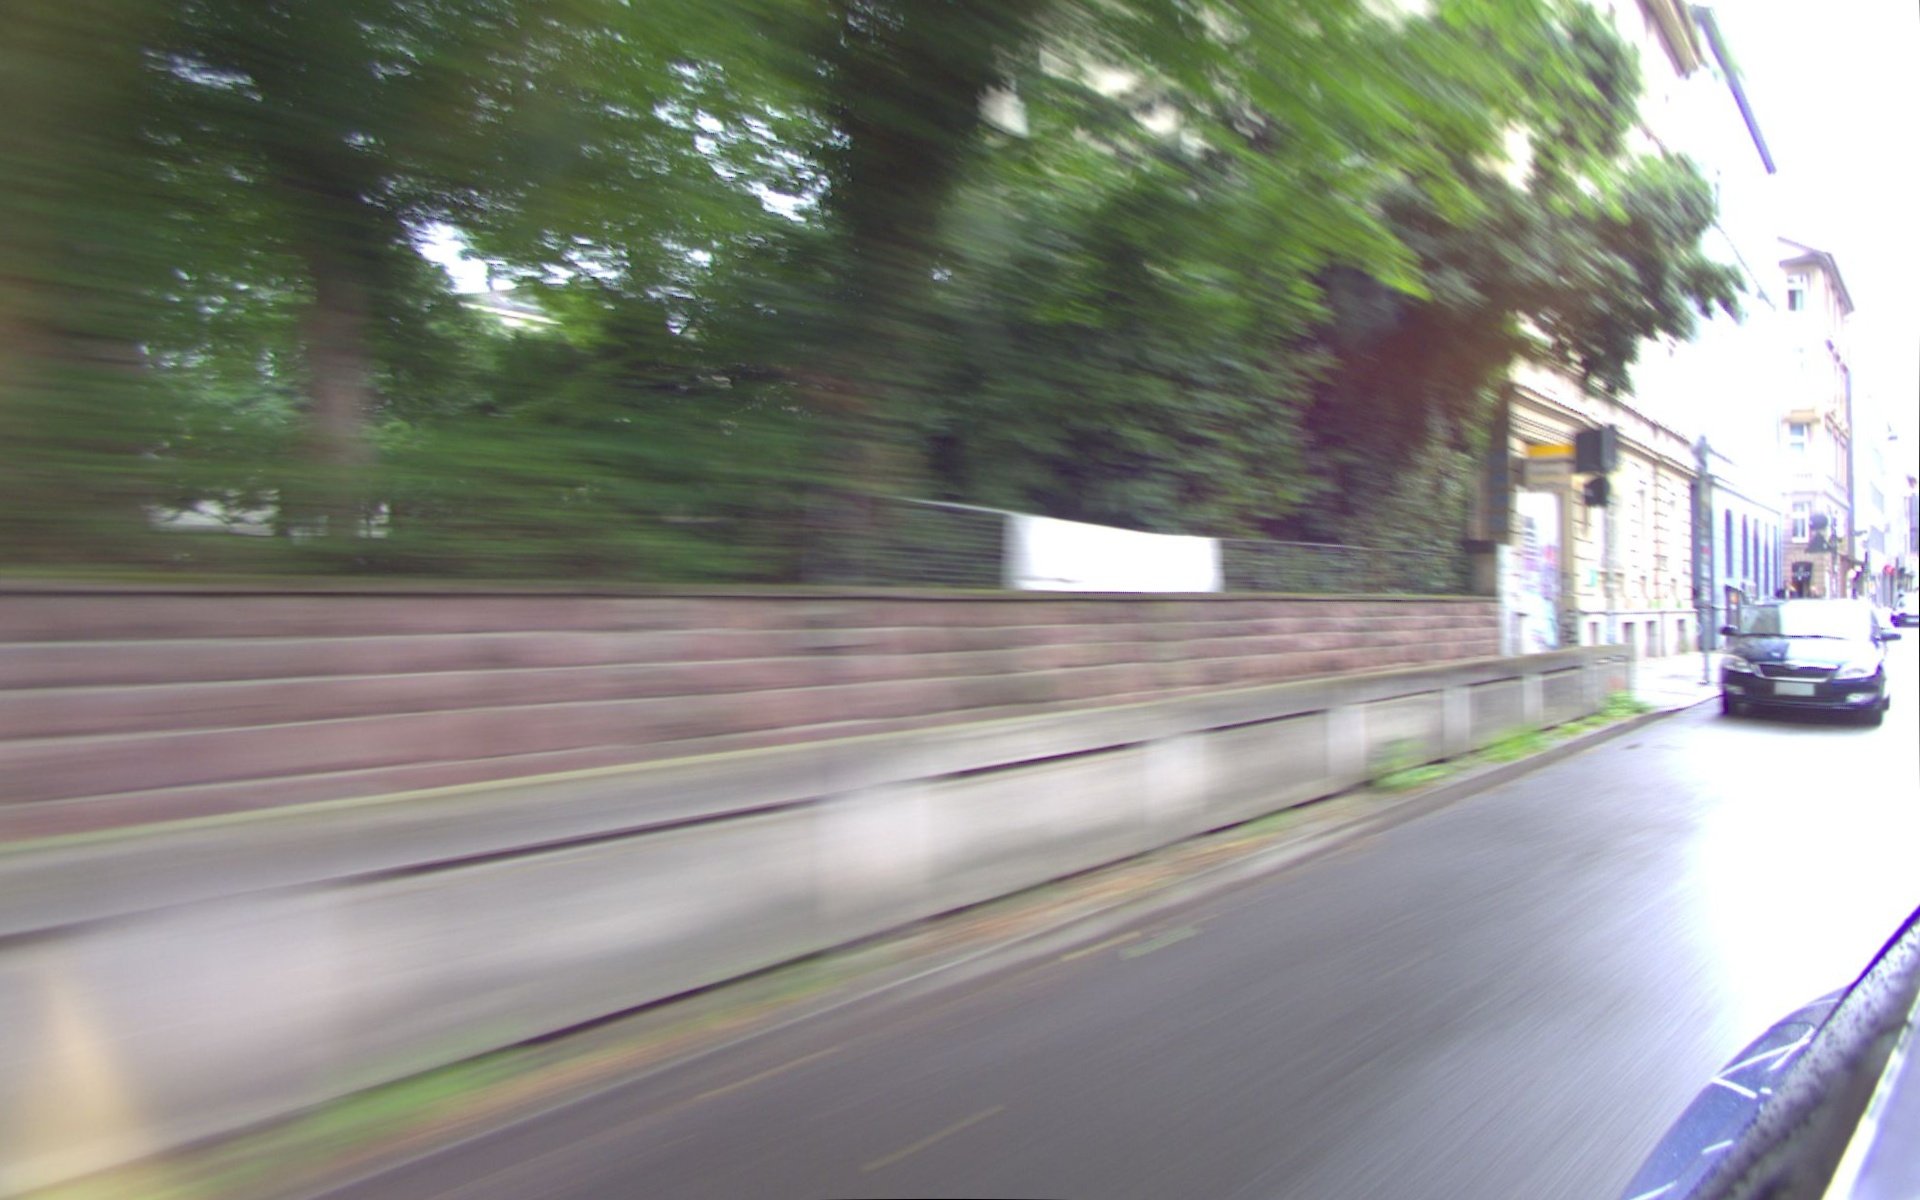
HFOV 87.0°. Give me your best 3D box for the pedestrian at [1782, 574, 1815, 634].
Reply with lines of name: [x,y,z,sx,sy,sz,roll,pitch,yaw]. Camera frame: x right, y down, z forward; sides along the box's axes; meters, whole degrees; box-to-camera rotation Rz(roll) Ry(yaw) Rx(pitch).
pedestrian: [27.262,0.125,32.904,0.763,1.938,0.578,-2,-1,44]

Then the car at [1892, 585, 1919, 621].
car: [47.389,0.112,49.787,4.056,1.705,1.995,-1,-1,-44]

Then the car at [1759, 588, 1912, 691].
car: [15.149,0.590,17.431,1.755,1.549,4.265,-2,-1,44]

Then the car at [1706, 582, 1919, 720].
car: [11.492,0.575,13.494,4.174,1.549,1.784,-1,-1,-44]

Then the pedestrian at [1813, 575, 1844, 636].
pedestrian: [27.802,0.174,32.400,0.714,1.914,0.590,-1,-1,44]
